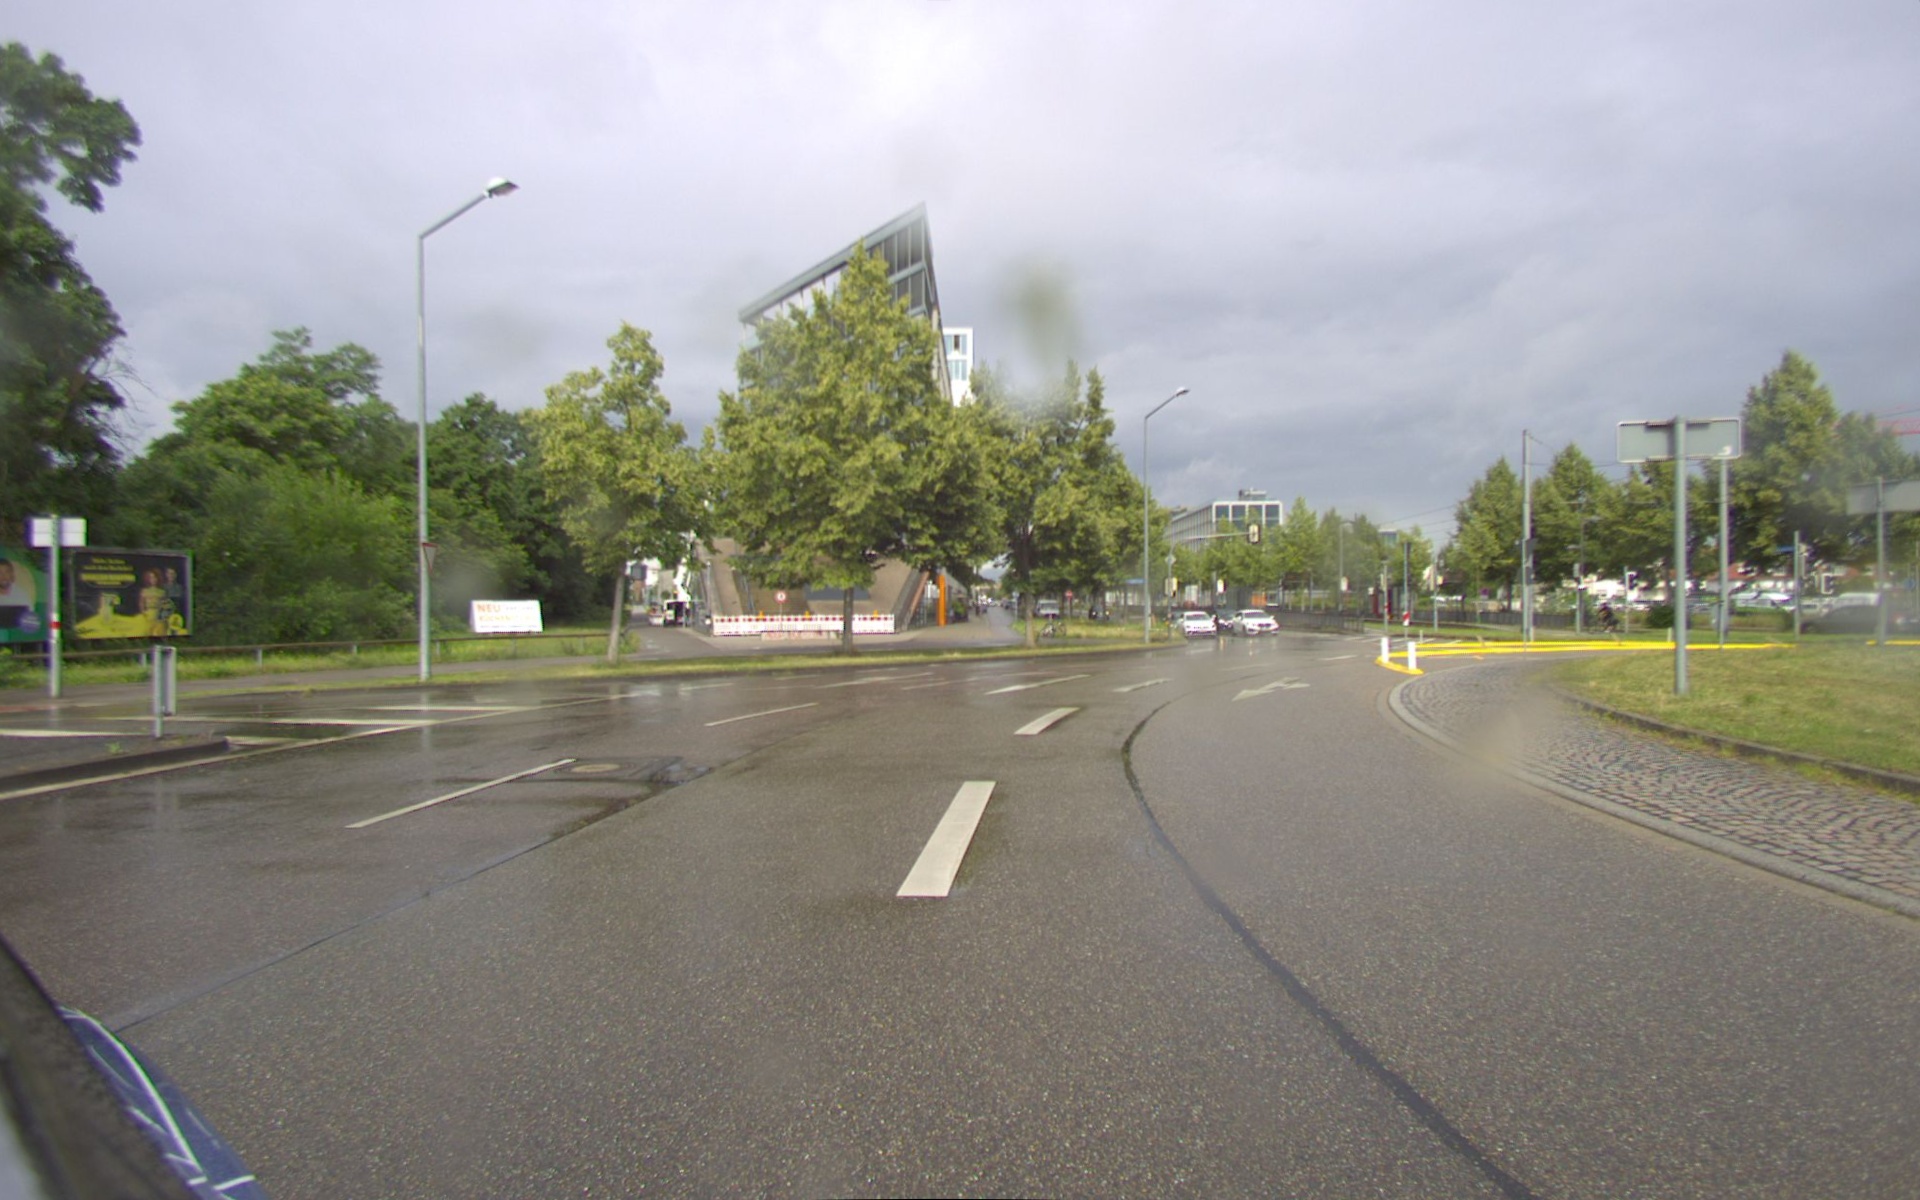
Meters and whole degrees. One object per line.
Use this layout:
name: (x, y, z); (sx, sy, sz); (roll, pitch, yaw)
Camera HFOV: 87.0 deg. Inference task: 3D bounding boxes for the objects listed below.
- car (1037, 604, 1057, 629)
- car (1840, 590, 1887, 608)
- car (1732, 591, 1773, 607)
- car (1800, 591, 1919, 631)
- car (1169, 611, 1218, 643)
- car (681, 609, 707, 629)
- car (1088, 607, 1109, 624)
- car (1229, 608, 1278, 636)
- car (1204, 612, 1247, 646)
car: (8.718, 1.696, 101.890); (1.842, 2.377, 4.466); (-1, -2, 3)
car: (90.081, -0.057, 100.950); (1.479, 1.735, 3.600); (-1, 0, -1)
car: (82.514, -0.102, 105.417); (1.529, 1.572, 3.498); (-1, 0, 2)
car: (37.125, 0.432, 41.292); (1.772, 1.528, 4.013); (-1, 0, -23)
car: (13.050, 1.513, 56.860); (1.842, 1.685, 4.466); (-1, -2, 3)
car: (-23.573, 1.725, 89.744); (1.836, 1.685, 4.480); (0, -2, -10)
car: (14.864, 1.712, 109.064); (1.842, 1.758, 4.082); (-1, -2, 3)
car: (16.283, 1.204, 56.324); (1.704, 1.519, 3.901); (-1, 0, 3)
car: (16.660, 1.782, 63.731); (1.975, 2.029, 3.993); (-1, 0, 6)
